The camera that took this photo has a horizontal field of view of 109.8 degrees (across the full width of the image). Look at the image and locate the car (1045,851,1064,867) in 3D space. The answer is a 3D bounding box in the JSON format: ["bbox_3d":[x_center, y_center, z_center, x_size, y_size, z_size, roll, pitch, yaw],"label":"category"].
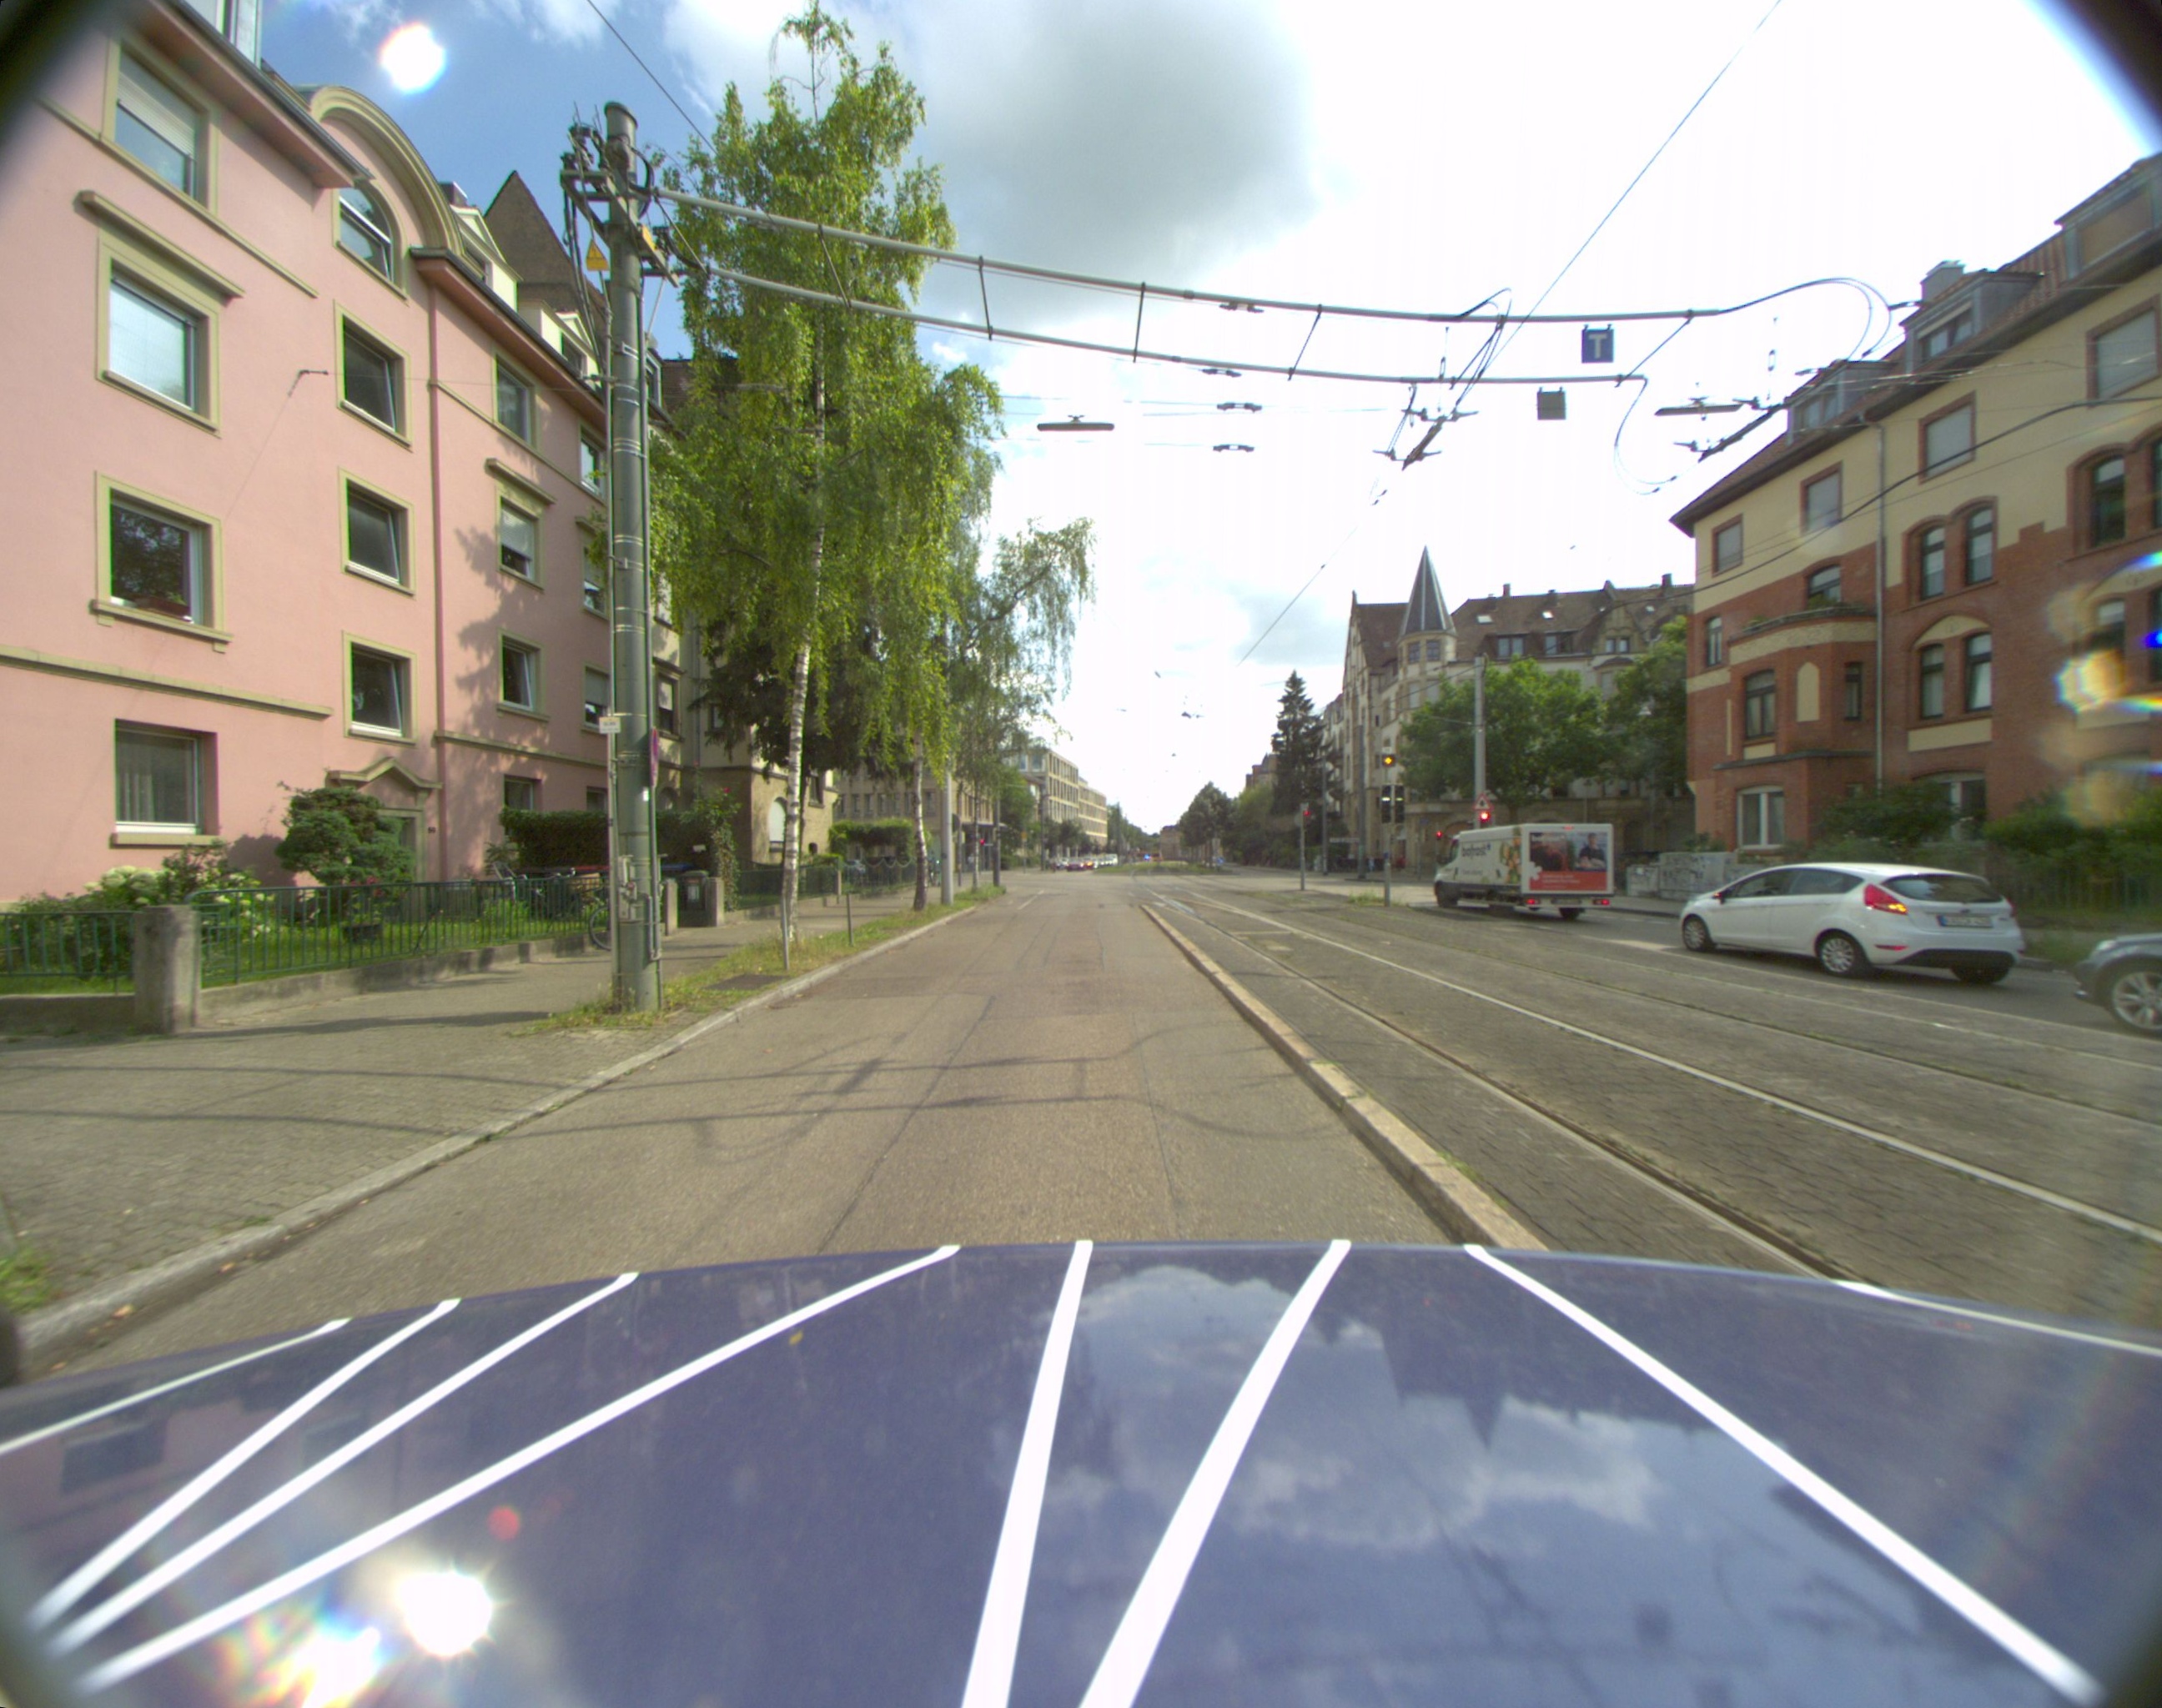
[{"bbox_3d":[-3.046,0.549,88.277,1.999,1.730,3.999,0,0,0],"label":"car"}]

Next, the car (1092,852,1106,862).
[{"bbox_3d":[2.492,0.401,102.238,1.619,1.265,4.001,-1,0,5],"label":"car"}]

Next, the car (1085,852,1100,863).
[{"bbox_3d":[1.489,0.459,95.053,1.619,1.265,4.001,-1,0,5],"label":"car"}]

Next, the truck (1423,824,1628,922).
[{"bbox_3d":[11.483,0.409,20.416,2.189,2.201,6.614,0,0,6],"label":"truck"}]

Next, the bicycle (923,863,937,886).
[{"bbox_3d":[-7.132,0.949,35.952,0.350,1.016,1.481,2,1,0],"label":"bicycle"}]

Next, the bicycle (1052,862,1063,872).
[{"bbox_3d":[-2.194,1.198,71.275,0.771,0.885,1.892,0,0,7],"label":"bicycle"}]

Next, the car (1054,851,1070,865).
[{"bbox_3d":[-2.363,0.473,96.593,1.835,1.674,4.000,0,0,1],"label":"car"}]

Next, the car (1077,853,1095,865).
[{"bbox_3d":[0.588,0.526,86.019,1.619,1.265,4.001,-1,0,5],"label":"car"}]

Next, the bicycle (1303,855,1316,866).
[{"bbox_3d":[20.746,0.572,69.017,0.625,0.966,2.336,0,0,5],"label":"bicycle"}]

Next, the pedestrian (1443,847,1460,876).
[{"bbox_3d":[22.279,0.467,45.677,0.933,1.730,0.771,0,1,26],"label":"pedestrian"}]

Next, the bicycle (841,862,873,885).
[{"bbox_3d":[-9.979,0.864,33.853,1.315,0.996,0.453,0,1,0],"label":"bicycle"}]

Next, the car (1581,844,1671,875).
[{"bbox_3d":[33.414,0.317,46.675,3.993,1.811,2.001,1,1,10],"label":"car"}]

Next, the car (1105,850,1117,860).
[{"bbox_3d":[4.784,0.164,120.703,1.579,1.549,4.001,0,0,5],"label":"car"}]

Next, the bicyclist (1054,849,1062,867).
[{"bbox_3d":[-2.146,0.377,71.740,0.665,1.679,0.857,0,1,7],"label":"bicyclist"}]

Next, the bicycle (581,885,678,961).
[{"bbox_3d":[-7.125,1.049,12.091,0.420,1.047,1.778,0,0,2],"label":"bicycle"}]

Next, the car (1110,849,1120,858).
[{"bbox_3d":[5.764,-0.117,128.773,1.645,1.610,3.714,0,0,5],"label":"car"}]

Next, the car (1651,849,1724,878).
[{"bbox_3d":[33.286,0.514,41.698,3.736,1.536,1.644,0,1,-25],"label":"car"}]

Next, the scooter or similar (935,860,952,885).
[{"bbox_3d":[-6.661,0.870,36.914,0.521,1.172,1.188,2,1,2],"label":"scooter or similar"}]

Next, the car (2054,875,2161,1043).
[{"bbox_3d":[9.660,0.911,4.628,1.759,1.348,4.512,1,1,3],"label":"car"}]

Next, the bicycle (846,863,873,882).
[{"bbox_3d":[-10.454,0.870,35.865,1.169,0.895,0.453,0,1,0],"label":"bicycle"}]

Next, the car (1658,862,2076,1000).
[{"bbox_3d":[10.379,0.881,10.609,1.758,1.406,4.135,1,1,6],"label":"car"}]

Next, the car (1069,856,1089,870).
[{"bbox_3d":[-0.190,0.908,78.224,1.740,1.313,4.001,-2,1,5],"label":"car"}]

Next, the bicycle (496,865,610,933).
[{"bbox_3d":[-9.751,0.825,14.054,1.777,1.213,0.421,-1,1,0],"label":"bicycle"}]

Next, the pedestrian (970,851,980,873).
[{"bbox_3d":[-8.926,0.646,63.945,0.737,1.832,0.806,-1,1,-14],"label":"pedestrian"}]

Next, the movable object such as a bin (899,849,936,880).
[{"bbox_3d":[-7.992,0.505,37.177,1.305,1.483,2.000,0,1,2],"label":"movable object such as a bin"}]

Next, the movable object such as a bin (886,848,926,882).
[{"bbox_3d":[-8.043,0.485,35.028,1.305,1.483,2.000,0,1,2],"label":"movable object such as a bin"}]

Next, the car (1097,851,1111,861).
[{"bbox_3d":[3.264,0.276,107.513,1.619,1.265,4.001,-1,0,5],"label":"car"}]
